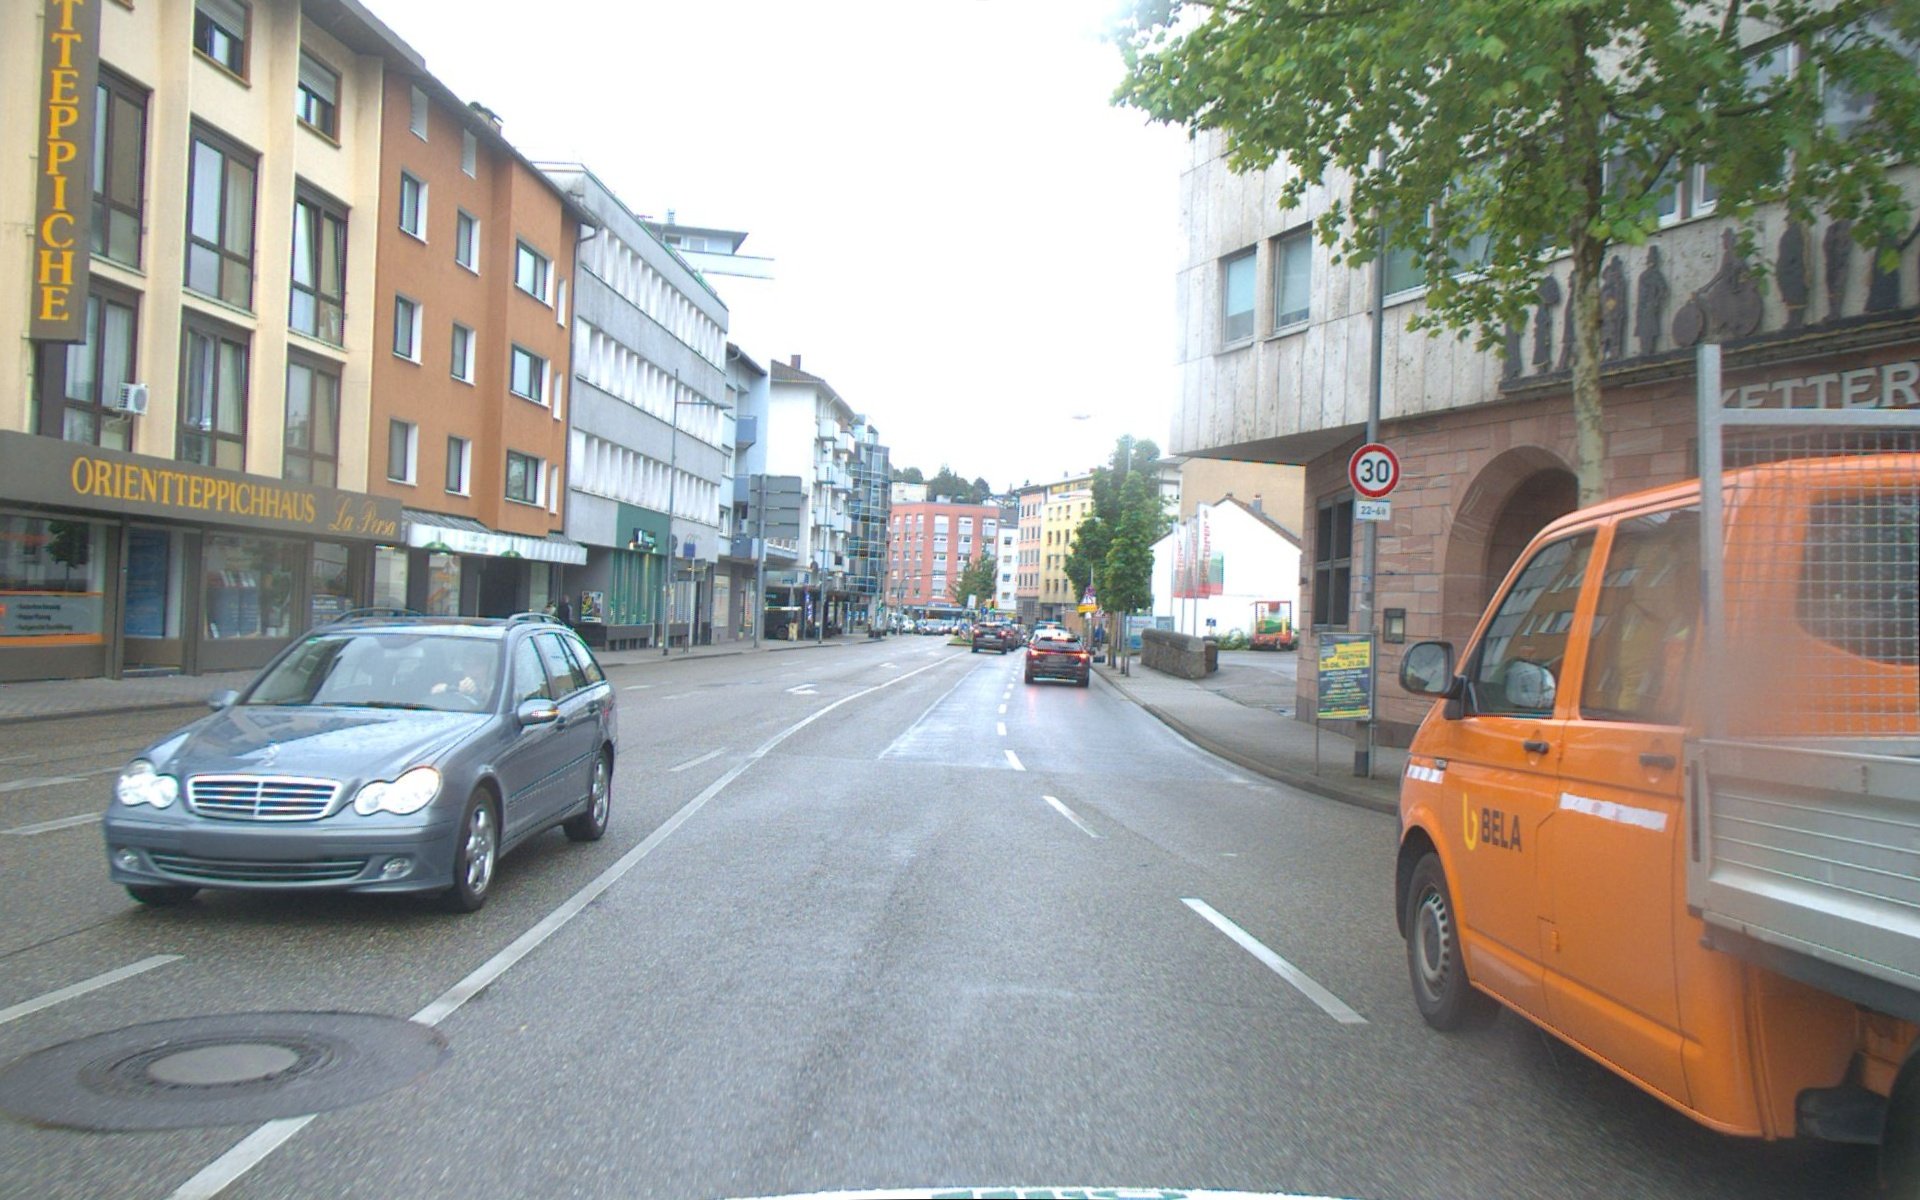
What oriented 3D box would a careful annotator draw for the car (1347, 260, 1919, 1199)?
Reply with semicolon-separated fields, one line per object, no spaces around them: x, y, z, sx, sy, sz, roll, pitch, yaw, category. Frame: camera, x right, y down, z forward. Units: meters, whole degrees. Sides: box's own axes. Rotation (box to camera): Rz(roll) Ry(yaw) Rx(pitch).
2.743;0.456;4.375;2.059;2.126;5.540;0;-1;-1;car

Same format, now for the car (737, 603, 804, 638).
-11.851;1.275;103.731;3.880;2.070;1.581;2;-1;4;car

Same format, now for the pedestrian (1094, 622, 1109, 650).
9.045;2.322;105.945;0.774;1.786;0.872;0;-1;16;pedestrian

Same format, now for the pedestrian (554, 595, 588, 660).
-11.224;0.790;47.710;0.563;1.819;0.827;6;-1;3;pedestrian

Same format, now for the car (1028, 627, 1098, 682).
2.939;1.543;47.935;1.753;1.427;4.633;2;-1;1;car

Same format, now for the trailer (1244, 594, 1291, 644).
17.359;1.057;93.631;2.082;2.764;5.394;0;0;5;trailer

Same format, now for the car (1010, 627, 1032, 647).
4.507;2.698;121.799;1.607;1.405;3.349;1;-1;2;car

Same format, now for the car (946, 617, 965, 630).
-0.496;2.512;177.776;1.686;1.448;4.161;0;-1;-4;car

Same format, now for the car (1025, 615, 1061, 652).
4.622;1.855;91.735;1.792;1.836;3.721;4;0;5;car

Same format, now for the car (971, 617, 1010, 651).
1.610;1.775;87.025;1.785;1.628;3.720;4;-1;4;car

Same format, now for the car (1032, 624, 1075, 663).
3.815;1.760;67.564;1.630;1.420;3.868;3;0;3;car

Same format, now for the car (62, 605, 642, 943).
-3.118;0.799;9.549;1.697;1.465;4.412;1;-1;0;car

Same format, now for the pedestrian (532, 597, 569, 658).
-11.815;0.790;47.745;0.617;1.704;0.908;6;-1;2;pedestrian

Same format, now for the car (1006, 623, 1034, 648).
3.569;2.094;97.881;1.607;1.405;3.349;1;-1;2;car

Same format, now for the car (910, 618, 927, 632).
-4.558;2.715;180.702;1.686;1.448;4.161;0;-1;-4;car

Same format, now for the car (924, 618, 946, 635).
-2.316;2.500;156.166;1.672;1.493;4.831;-1;-1;4;car

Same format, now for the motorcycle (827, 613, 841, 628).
-8.652;1.408;113.663;0.514;1.012;2.137;4;-1;4;motorcycle

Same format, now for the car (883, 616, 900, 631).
-7.508;2.595;181.160;1.428;1.455;3.364;4;0;-8;car
